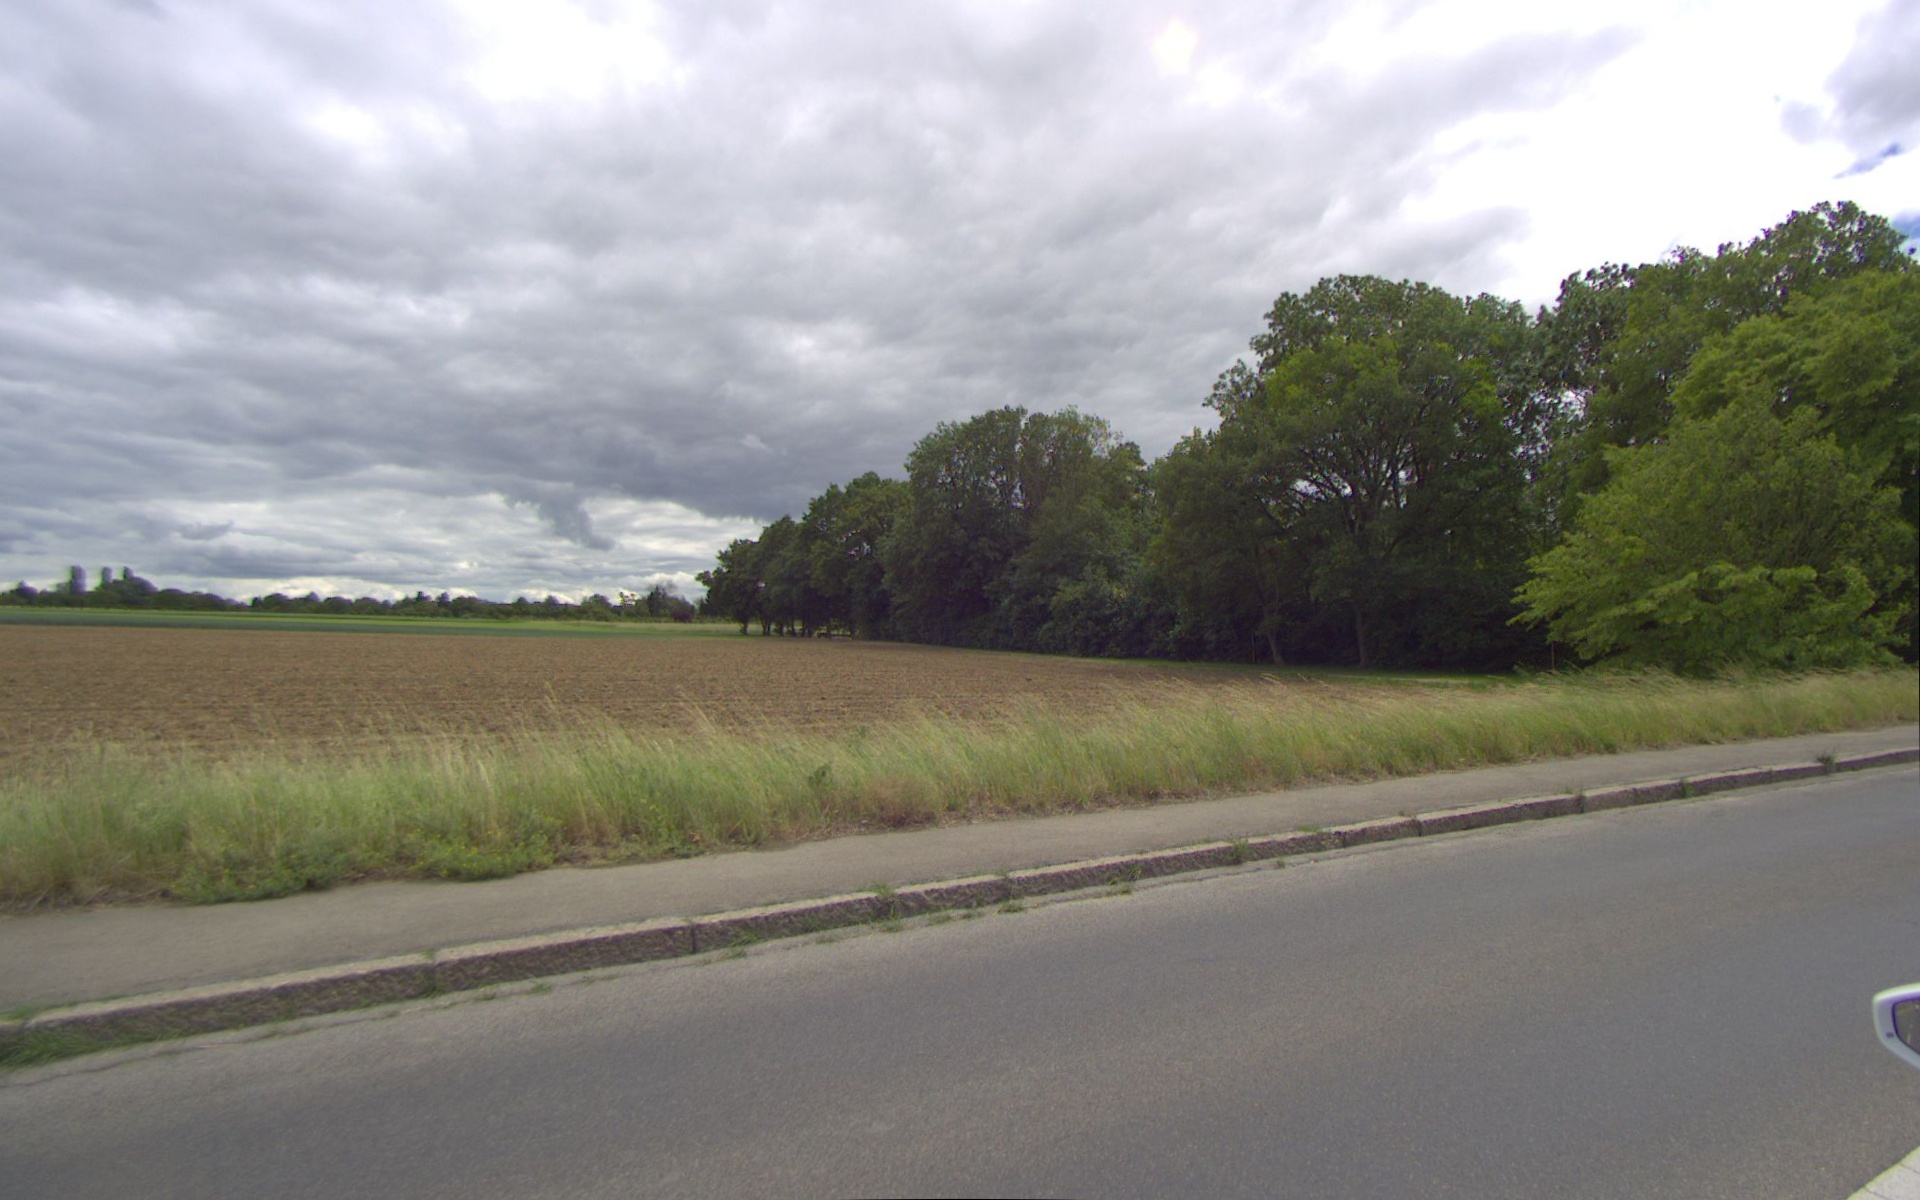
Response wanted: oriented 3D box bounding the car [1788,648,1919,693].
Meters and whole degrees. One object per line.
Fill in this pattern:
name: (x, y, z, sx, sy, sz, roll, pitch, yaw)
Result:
car: (28.461, 2.179, 31.113, 1.723, 1.316, 3.972, 2, -4, -28)
